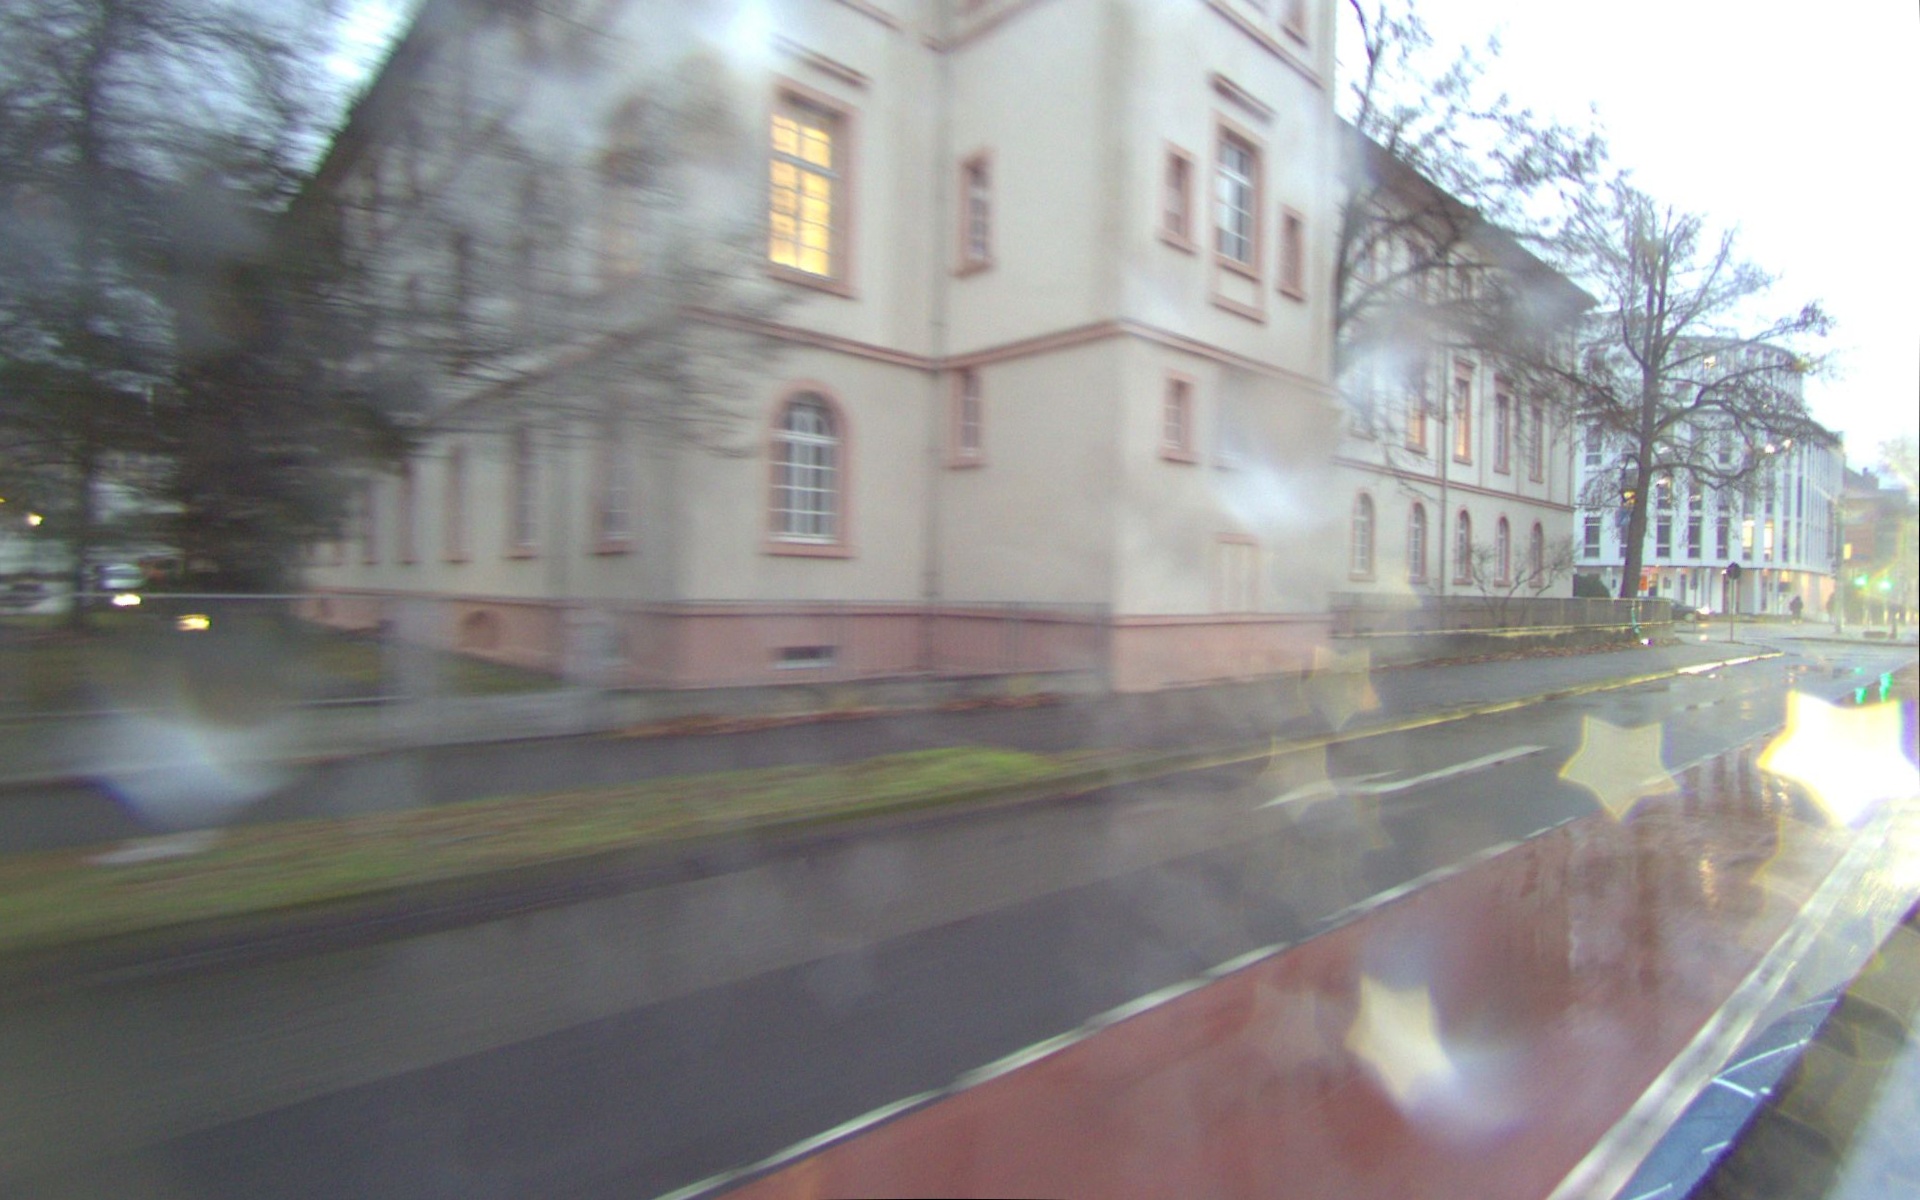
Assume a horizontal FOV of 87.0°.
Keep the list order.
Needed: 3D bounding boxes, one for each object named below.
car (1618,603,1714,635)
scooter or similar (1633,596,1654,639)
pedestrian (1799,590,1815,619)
[{"bbox_3d":[41.221,1.089,59.155,4.544,1.740,1.702,1,0,39],"label":"car"},{"bbox_3d":[19.990,0.512,29.585,0.439,1.219,1.066,0,0,38],"label":"scooter or similar"},{"bbox_3d":[47.259,0.245,56.484,0.653,1.609,0.554,0,-1,39],"label":"pedestrian"}]
